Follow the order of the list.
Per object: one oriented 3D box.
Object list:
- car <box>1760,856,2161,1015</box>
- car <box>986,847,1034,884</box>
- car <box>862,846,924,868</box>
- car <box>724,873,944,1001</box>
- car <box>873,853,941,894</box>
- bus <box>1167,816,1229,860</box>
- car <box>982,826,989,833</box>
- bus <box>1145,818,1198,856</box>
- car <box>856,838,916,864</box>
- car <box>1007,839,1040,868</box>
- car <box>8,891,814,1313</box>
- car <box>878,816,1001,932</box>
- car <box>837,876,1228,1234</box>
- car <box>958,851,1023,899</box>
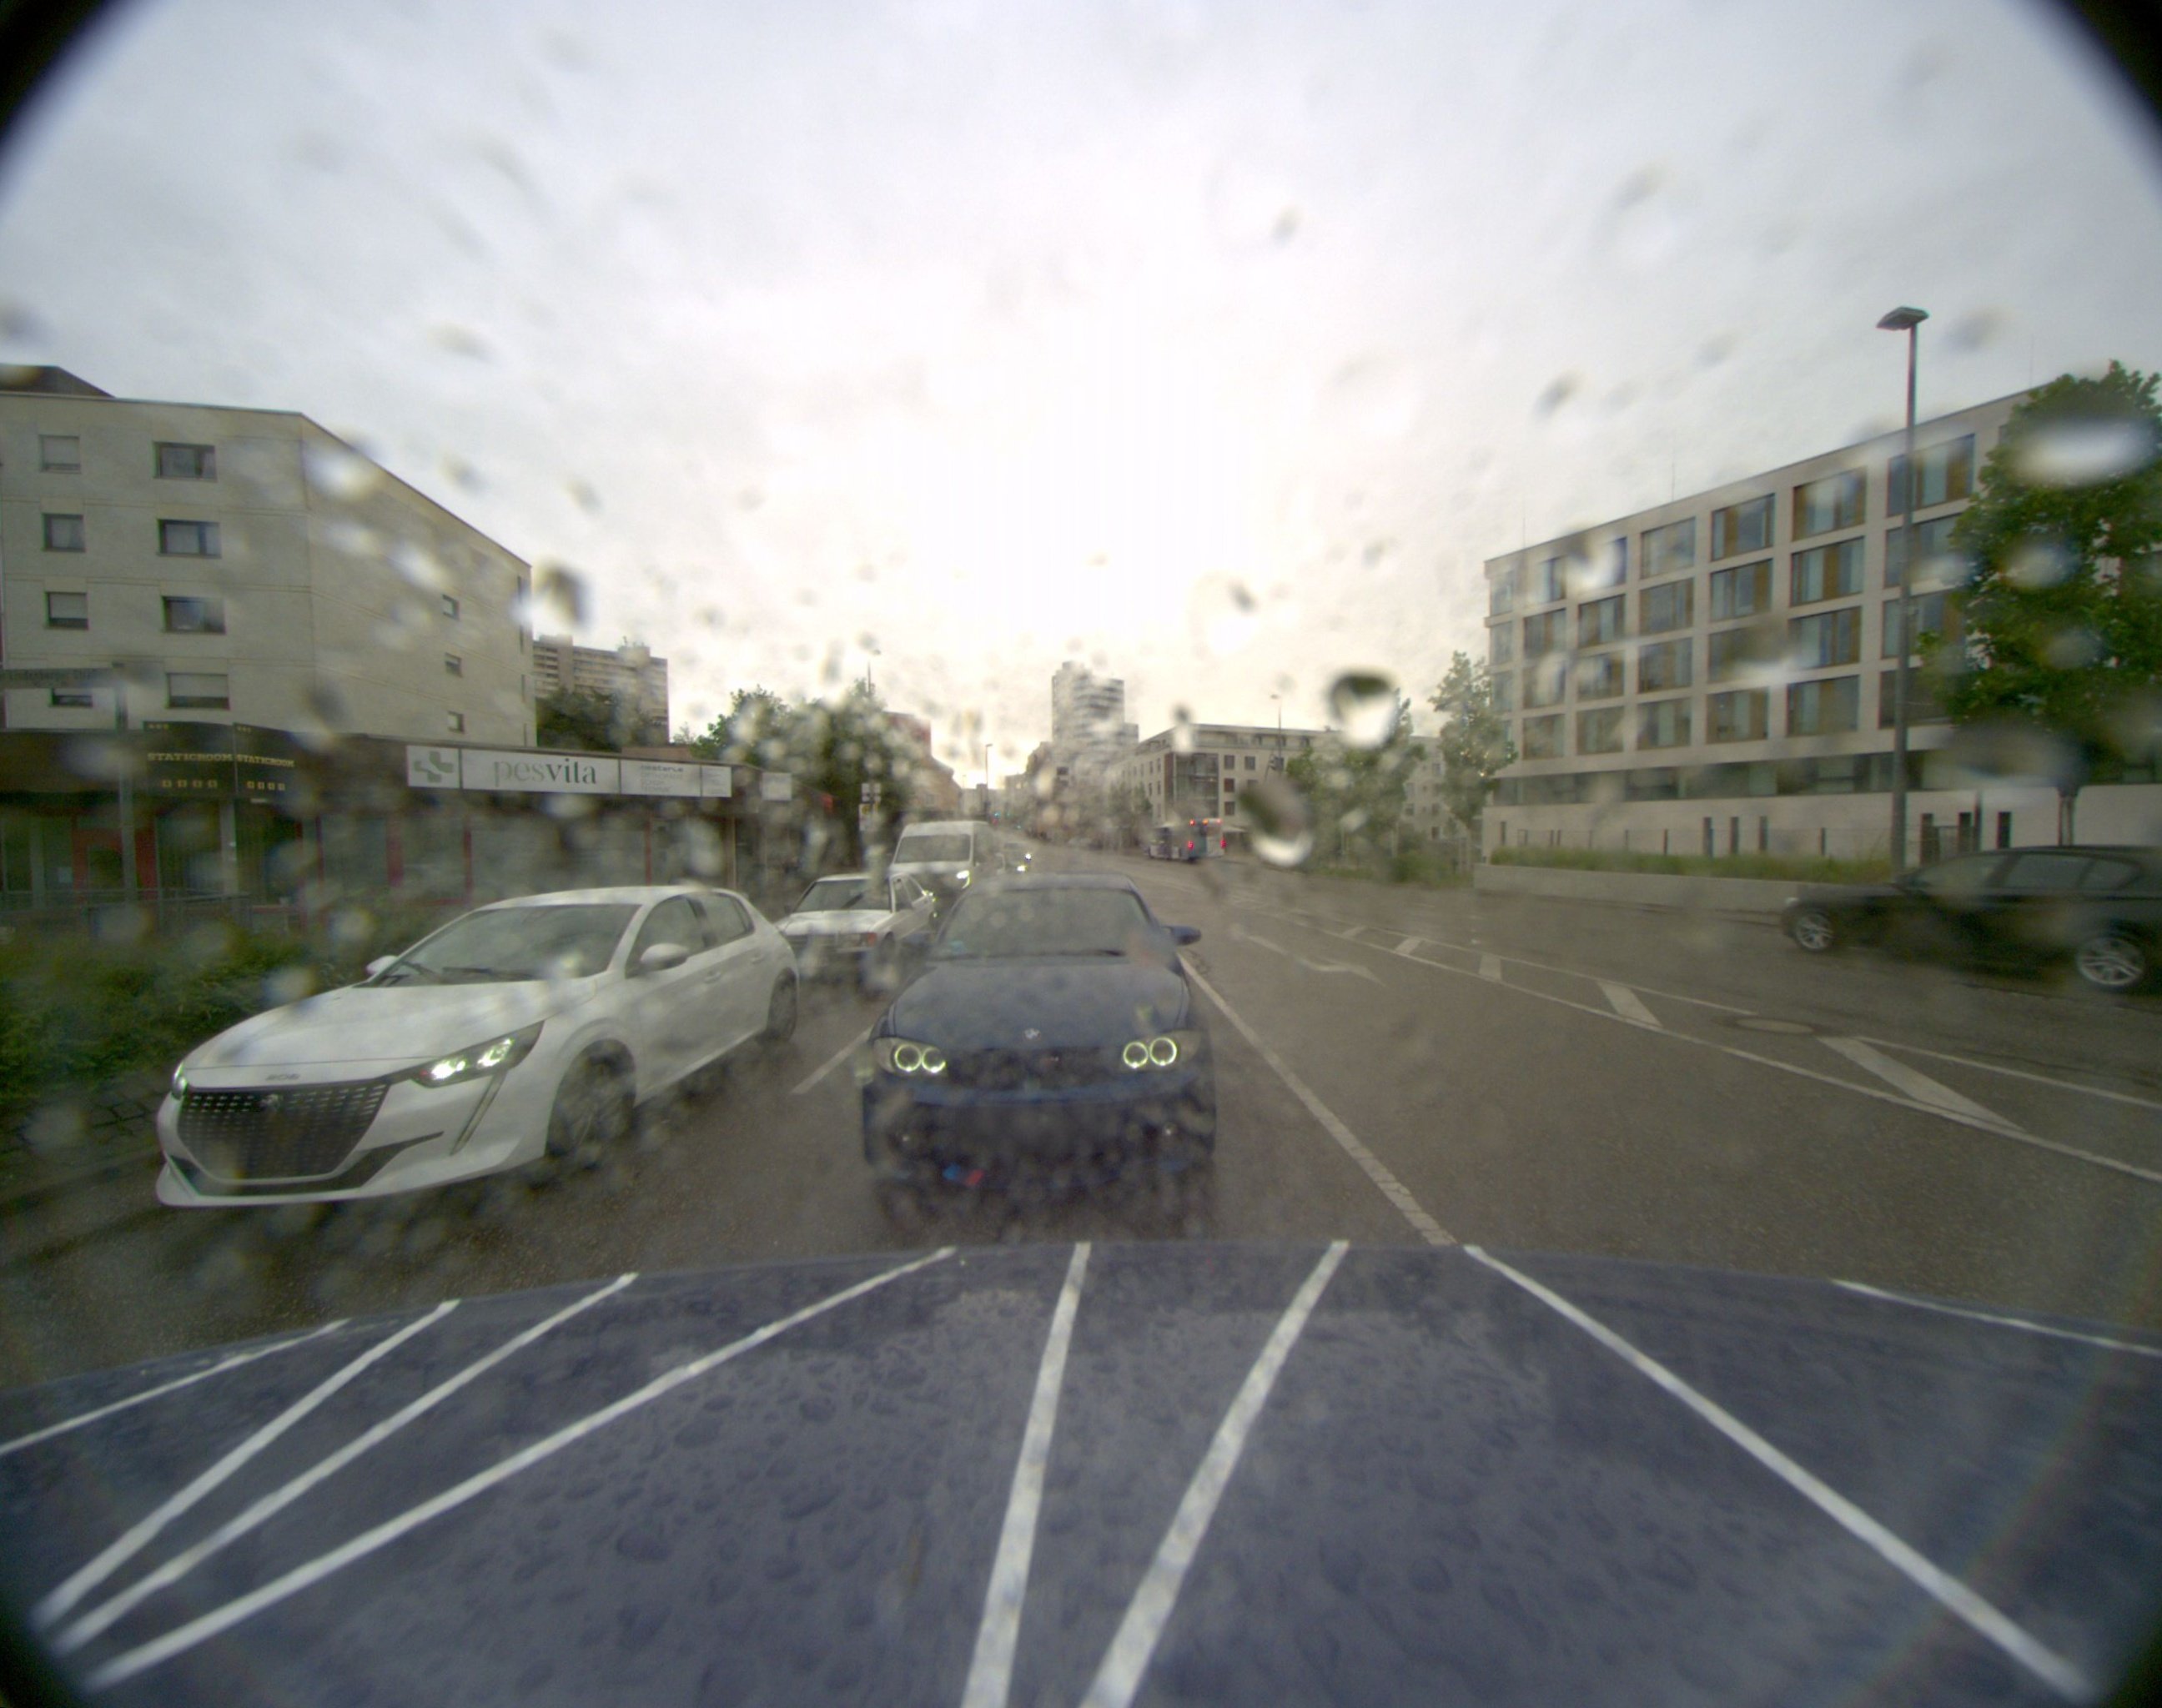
[{"bbox_3d":[10.471,0.736,8.479,1.790,1.382,4.279,0,0,-4],"label":"car"},{"bbox_3d":[-3.351,0.514,36.660,1.999,1.559,3.998,-2,1,-1],"label":"car"},{"bbox_3d":[-13.076,0.180,53.065,4.000,1.419,1.882,-1,1,-10],"label":"car"},{"bbox_3d":[-3.362,1.056,11.271,1.788,1.338,4.162,-2,1,1],"label":"car"},{"bbox_3d":[-7.092,0.740,31.345,1.788,1.481,4.000,-2,1,1],"label":"car"},{"bbox_3d":[8.813,-1.216,58.476,2.784,3.096,9.363,-1,1,-3],"label":"bus"},{"bbox_3d":[-26.716,-6.772,211.562,1.666,1.625,3.801,-2,1,-11],"label":"car"},{"bbox_3d":[7.918,-1.481,67.643,2.800,3.096,8.878,-1,1,-6],"label":"bus"},{"bbox_3d":[-14.169,-0.239,55.400,4.000,1.769,1.882,-1,1,-10],"label":"car"},{"bbox_3d":[-4.138,-0.078,55.237,1.998,2.002,3.999,0,1,1],"label":"car"},{"bbox_3d":[-3.386,1.091,5.081,1.666,1.407,4.114,-2,1,1],"label":"car"},{"bbox_3d":[-3.440,0.379,19.865,2.197,2.503,6.120,-1,1,-2],"label":"car"},{"bbox_3d":[-0.254,0.949,5.380,1.693,1.380,3.999,-2,1,-1],"label":"car"},{"bbox_3d":[-3.259,0.717,28.104,1.803,1.530,3.999,-2,1,1],"label":"car"}]
